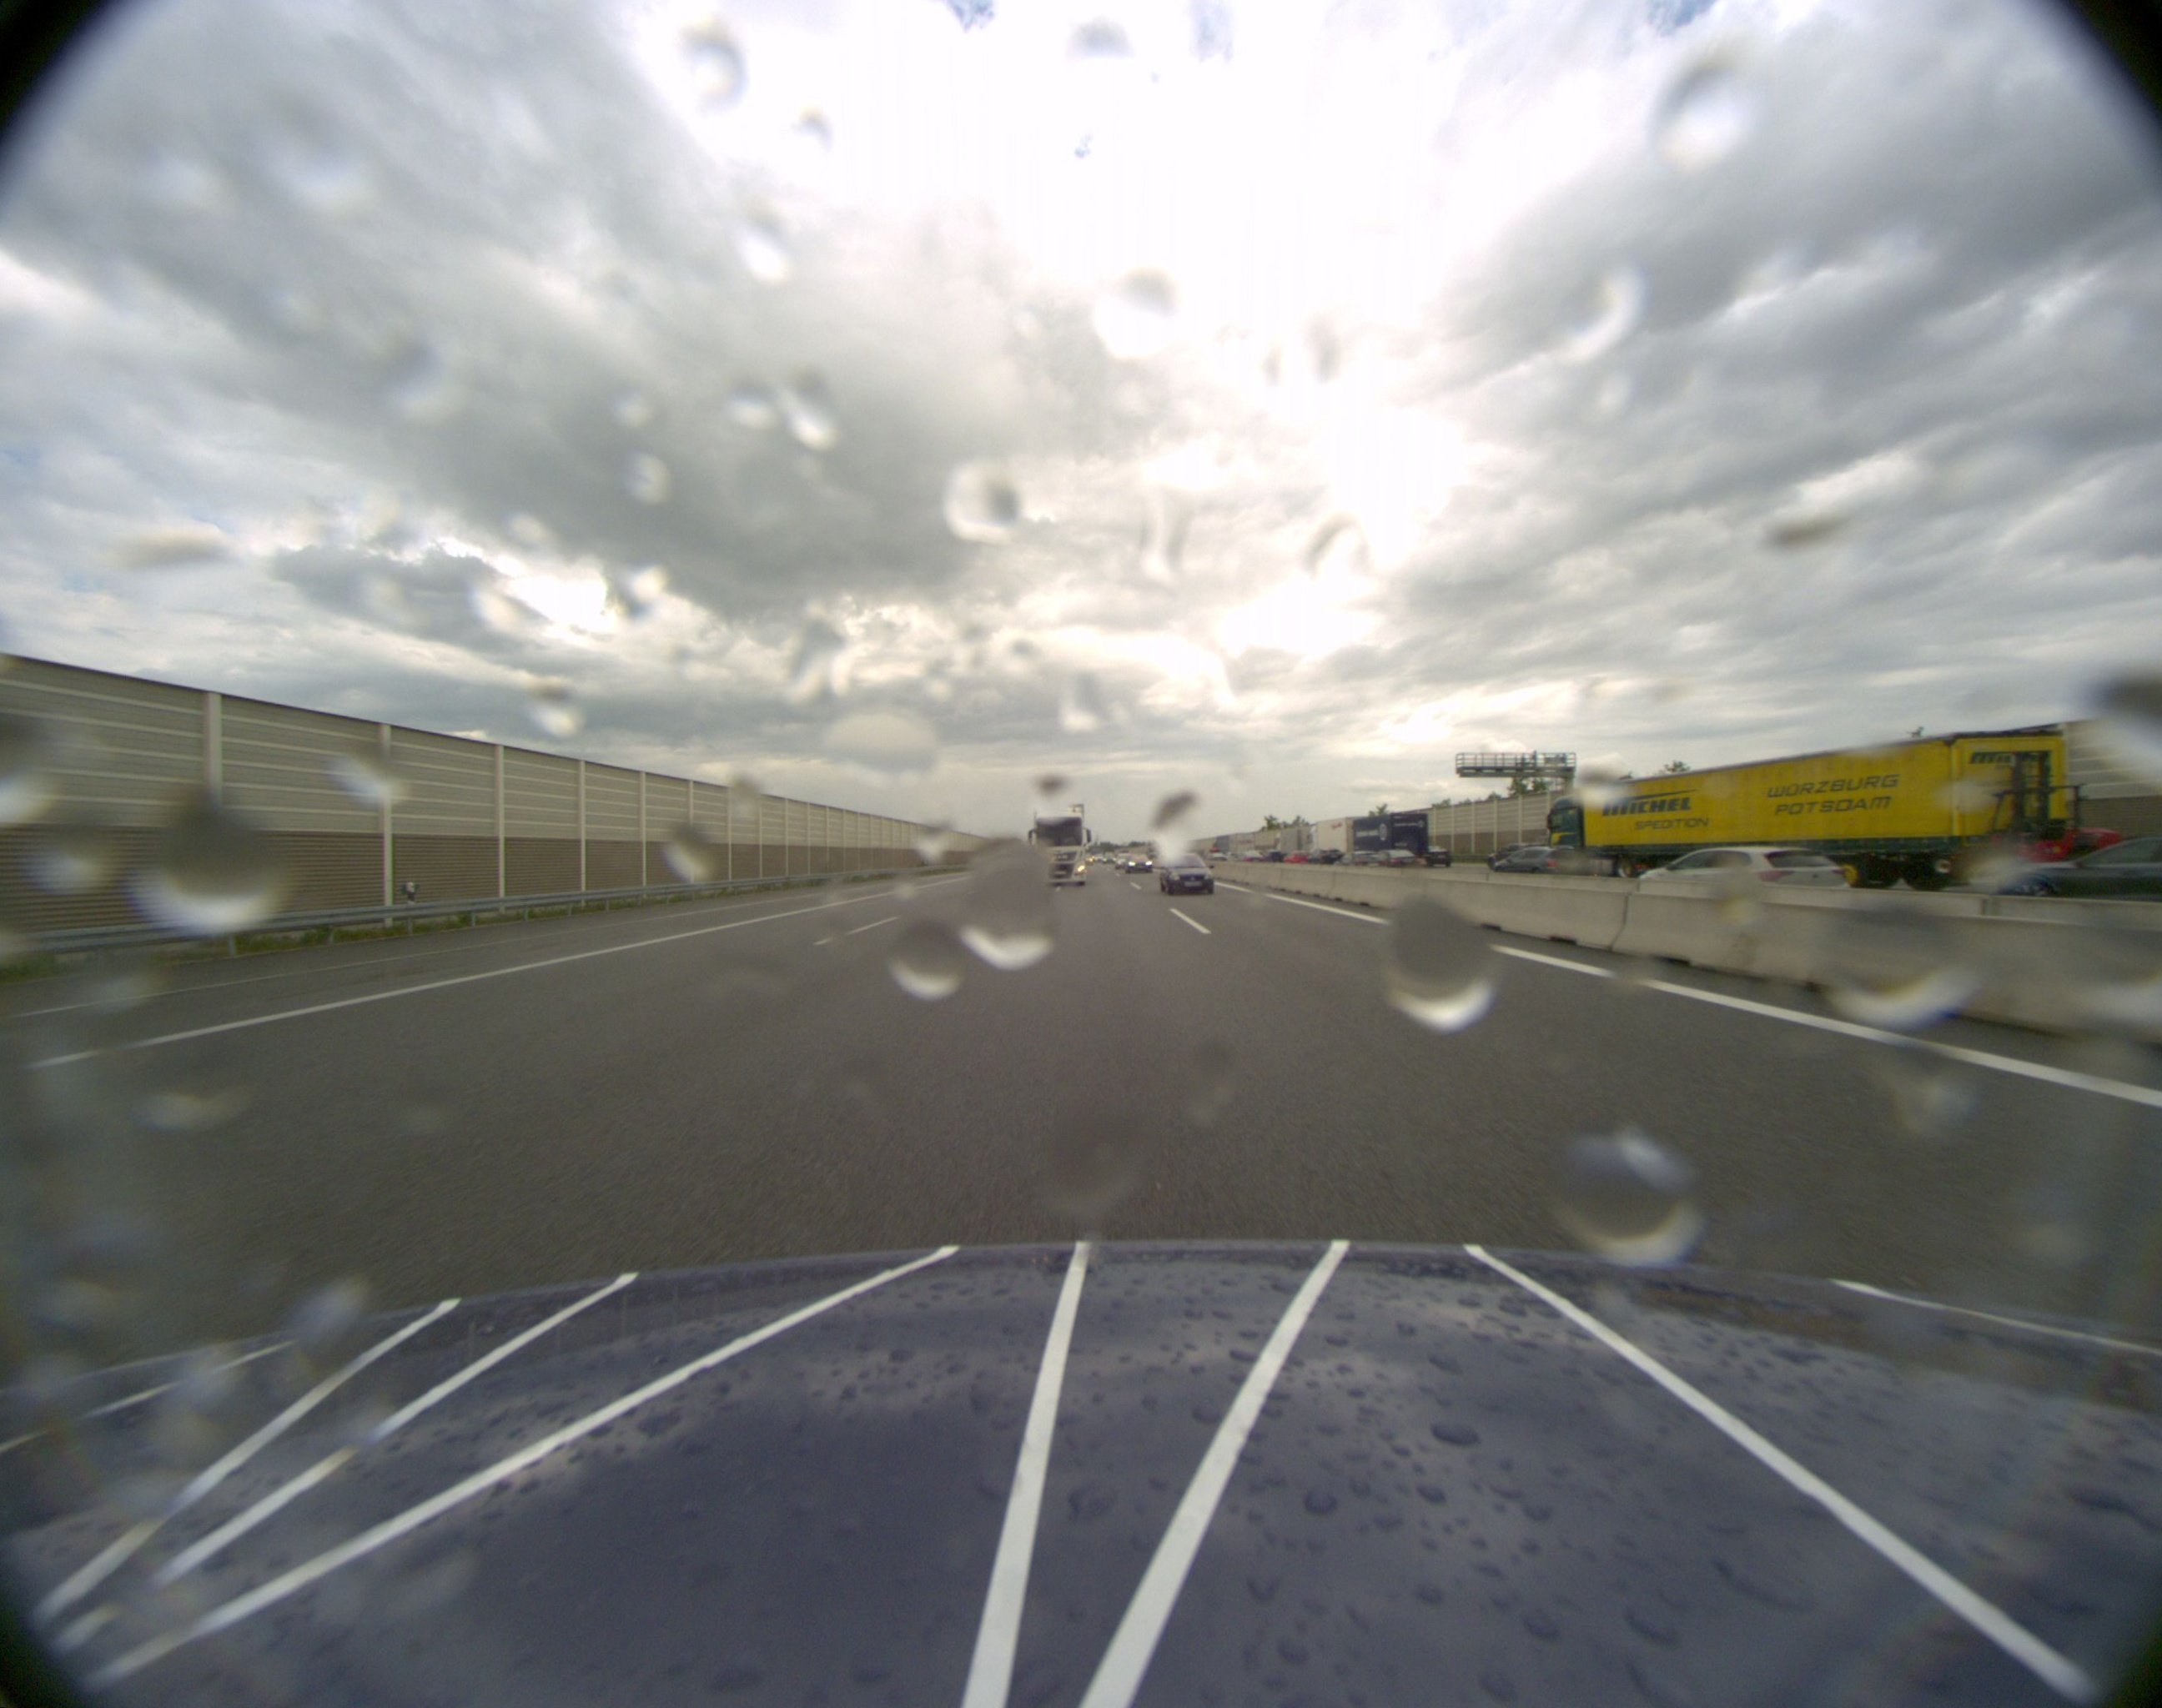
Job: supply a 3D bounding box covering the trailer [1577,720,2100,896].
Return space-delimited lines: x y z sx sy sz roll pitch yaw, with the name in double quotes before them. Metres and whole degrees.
"trailer" 22.360 -1.144 24.908 2.768 4.008 14.450 -2 1 0

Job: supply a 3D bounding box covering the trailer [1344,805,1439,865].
"trailer" 22.428 -1.318 55.657 2.938 3.917 10.119 -2 0 1

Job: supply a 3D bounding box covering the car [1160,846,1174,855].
"car" 15.449 -0.654 136.505 1.817 1.622 4.208 -2 0 -1

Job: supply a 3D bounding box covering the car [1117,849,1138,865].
"car" 4.412 0.292 72.410 1.732 1.395 4.000 -2 1 1

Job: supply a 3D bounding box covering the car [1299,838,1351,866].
"car" 18.803 -0.154 58.898 2.066 1.991 5.807 -2 0 0

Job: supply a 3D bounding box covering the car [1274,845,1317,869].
"car" 19.066 0.232 67.759 2.066 1.991 5.807 -2 0 0

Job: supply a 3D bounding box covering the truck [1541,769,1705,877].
"truck" 22.396 -1.202 31.824 2.752 4.011 5.725 -2 1 0

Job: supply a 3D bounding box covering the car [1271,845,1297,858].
"car" 27.911 -0.369 104.815 2.066 1.591 5.807 -2 0 1

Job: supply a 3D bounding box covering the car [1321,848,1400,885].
"car" 14.857 0.613 40.791 2.066 1.745 5.807 -2 0 0

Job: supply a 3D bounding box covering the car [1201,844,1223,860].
"car" 18.241 -0.311 106.152 2.066 2.146 5.432 -2 0 1

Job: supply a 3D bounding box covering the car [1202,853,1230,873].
"car" 14.964 0.963 84.591 2.066 1.991 5.807 -2 0 0

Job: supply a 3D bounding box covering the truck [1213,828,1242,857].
"truck" 22.542 -1.744 116.905 3.079 4.220 6.692 -2 0 0

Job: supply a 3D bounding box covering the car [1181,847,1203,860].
"car" 14.722 -0.080 101.300 2.066 1.555 5.807 -2 0 1

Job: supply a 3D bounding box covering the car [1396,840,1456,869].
"car" 25.830 0.037 57.080 2.066 1.991 5.296 -2 0 0

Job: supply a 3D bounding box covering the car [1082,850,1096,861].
"car" 1.115 0.229 104.046 1.732 1.395 4.000 -2 1 1

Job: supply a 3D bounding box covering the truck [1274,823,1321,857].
"truck" 26.460 -1.663 93.292 2.693 3.876 10.499 -2 0 0

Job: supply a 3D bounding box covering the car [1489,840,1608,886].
"car" 18.819 0.334 30.851 2.066 1.690 4.410 -2 0 0

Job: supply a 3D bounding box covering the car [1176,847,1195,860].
"car" 15.323 -0.073 111.702 1.938 1.886 5.432 -2 0 1

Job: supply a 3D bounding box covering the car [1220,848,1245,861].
"car" 18.967 0.065 95.410 2.066 1.591 5.807 -2 0 1

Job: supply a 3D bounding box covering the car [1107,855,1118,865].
"car" 4.720 0.912 113.227 1.498 1.395 4.000 -2 1 1

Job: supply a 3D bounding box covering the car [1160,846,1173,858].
"car" 18.440 -0.435 163.733 2.031 2.459 5.148 -2 0 -2

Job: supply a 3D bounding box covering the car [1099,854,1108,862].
"car" 4.201 0.754 141.022 1.498 1.395 4.000 -2 1 1

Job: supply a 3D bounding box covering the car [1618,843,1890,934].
"car" 14.440 0.646 16.752 2.066 1.690 4.410 -2 0 0

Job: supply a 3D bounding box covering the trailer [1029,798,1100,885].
"trailer" -0.644 -0.695 44.472 2.925 4.188 13.198 -3 1 3

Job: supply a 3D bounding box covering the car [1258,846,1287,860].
"car" 22.767 -0.167 90.563 2.066 1.591 5.807 -2 0 1

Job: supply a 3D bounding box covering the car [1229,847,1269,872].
"car" 14.617 0.469 66.465 2.066 1.991 5.807 -2 0 0

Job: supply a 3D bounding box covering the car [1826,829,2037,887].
"car" 28.017 0.109 25.295 2.066 1.690 4.410 -2 0 0

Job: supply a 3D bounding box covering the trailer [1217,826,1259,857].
"trailer" 22.497 -1.693 109.573 3.066 4.136 14.314 -2 0 0

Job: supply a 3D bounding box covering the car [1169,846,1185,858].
"car" 15.530 -0.325 123.085 1.924 1.880 5.426 -2 0 1

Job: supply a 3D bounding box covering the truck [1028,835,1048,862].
"truck" -7.011 -0.937 124.032 2.599 4.088 11.369 -2 1 -1

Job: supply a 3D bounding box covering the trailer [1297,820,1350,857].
"trailer" 26.439 -1.624 83.315 2.728 3.849 9.283 -2 0 0

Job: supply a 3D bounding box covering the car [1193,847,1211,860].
"car" 18.760 -0.133 118.112 1.938 1.886 5.432 -2 0 1

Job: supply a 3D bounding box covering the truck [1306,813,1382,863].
"truck" 22.656 -1.316 66.255 2.945 3.922 11.066 -2 0 1

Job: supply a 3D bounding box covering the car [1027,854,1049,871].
"car" -3.964 0.785 70.977 1.698 1.395 4.000 -2 1 1

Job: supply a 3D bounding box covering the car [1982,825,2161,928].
"car" 18.771 0.346 12.738 2.066 1.690 4.410 -2 0 0

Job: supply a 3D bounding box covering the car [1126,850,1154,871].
"car" 4.380 0.474 57.028 1.776 1.451 4.479 -2 1 0

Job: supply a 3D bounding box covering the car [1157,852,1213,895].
"car" 3.801 0.682 28.366 1.578 1.395 4.000 -2 1 1

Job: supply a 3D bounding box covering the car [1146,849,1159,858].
"car" 14.271 -0.071 152.565 1.925 1.622 4.694 -2 0 -2

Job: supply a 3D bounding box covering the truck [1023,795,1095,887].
"truck" -0.997 -0.634 38.195 2.912 4.146 5.193 -3 1 4

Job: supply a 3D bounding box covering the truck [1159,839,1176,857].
"truck" 24.834 -1.693 218.971 3.225 4.829 11.696 -2 0 -1

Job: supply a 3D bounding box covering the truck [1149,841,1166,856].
"truck" 24.948 -1.822 248.068 3.448 4.829 17.226 -2 0 -1

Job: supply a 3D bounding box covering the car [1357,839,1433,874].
"car" 18.576 0.112 45.300 2.066 1.881 5.807 -2 0 0

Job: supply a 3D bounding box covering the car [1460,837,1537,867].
"car" 26.223 -0.130 47.905 2.066 1.713 4.957 -2 0 0
